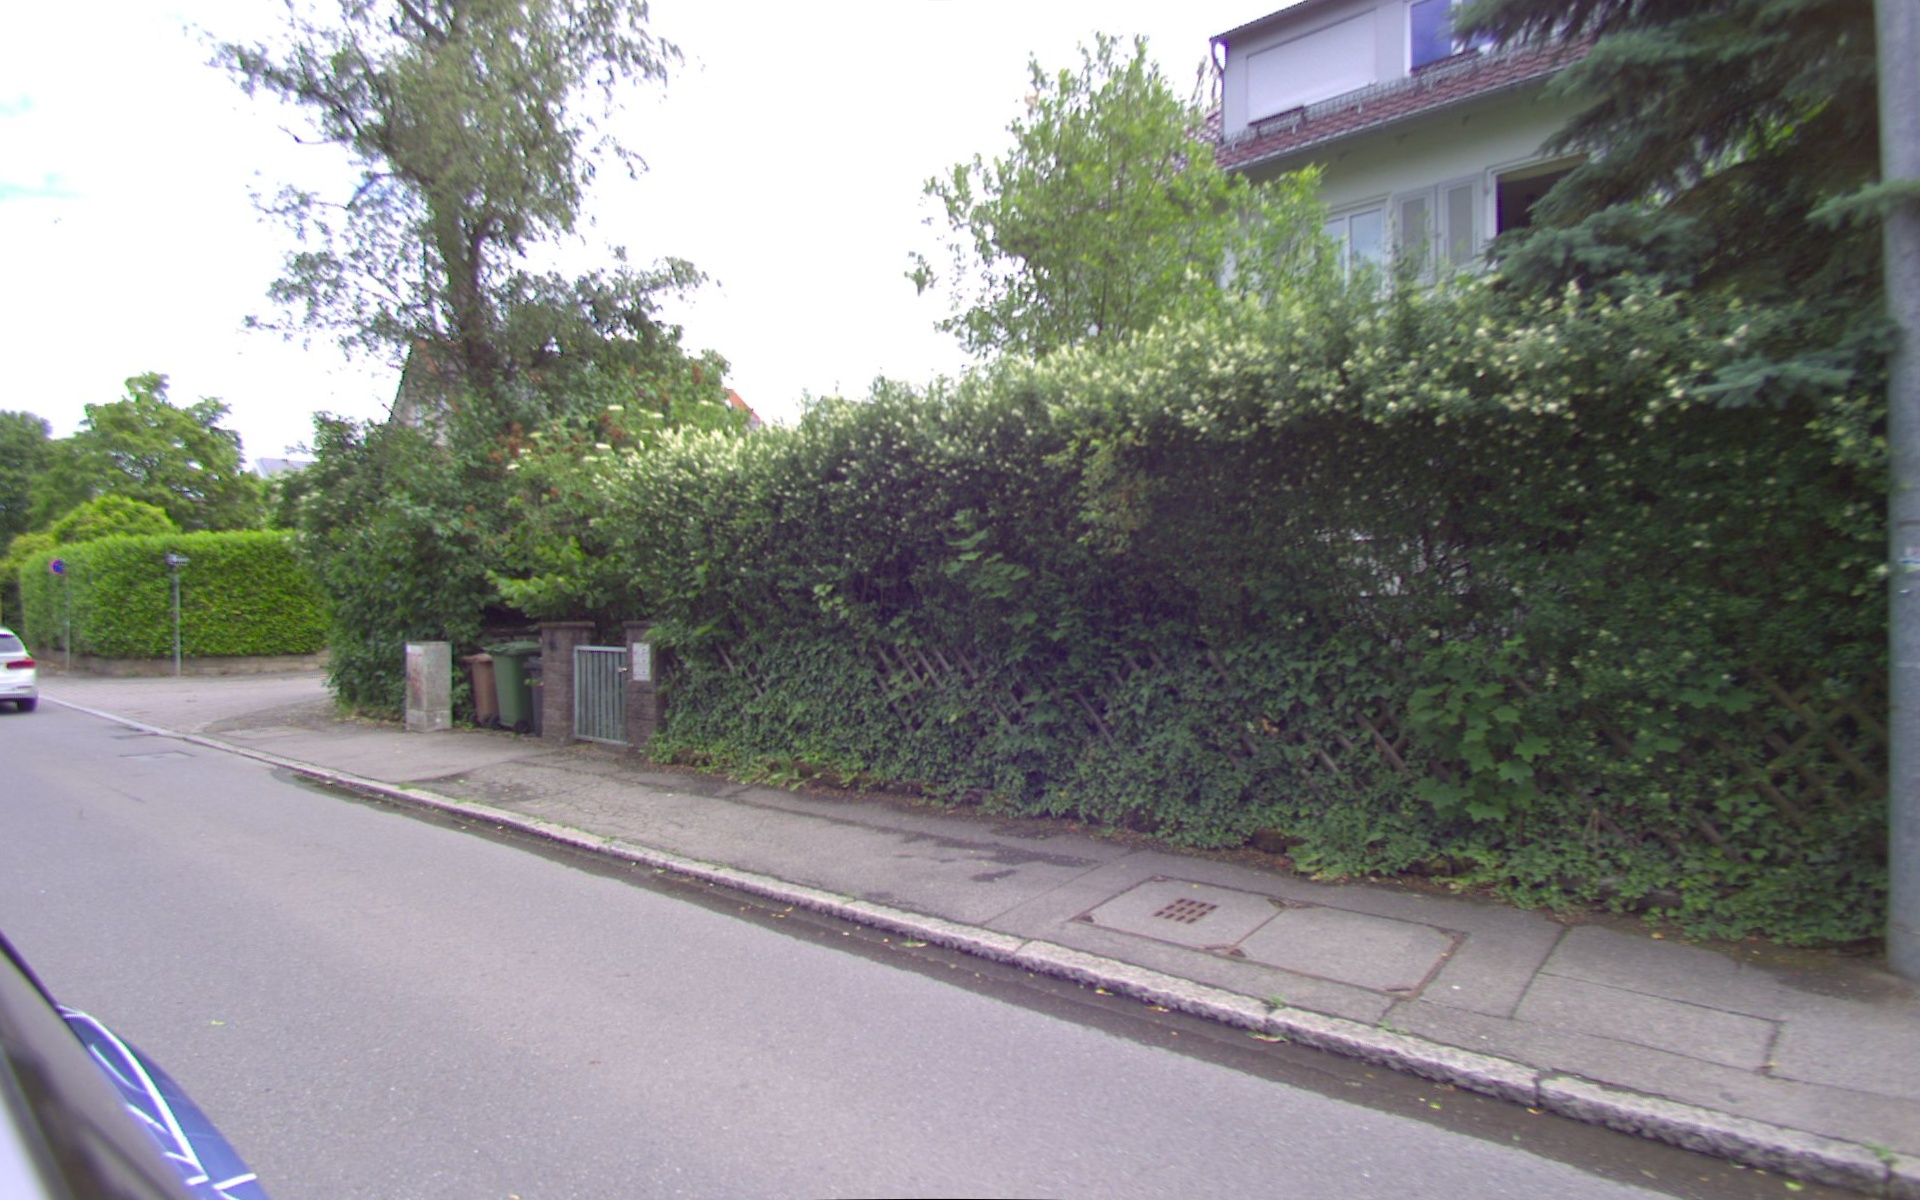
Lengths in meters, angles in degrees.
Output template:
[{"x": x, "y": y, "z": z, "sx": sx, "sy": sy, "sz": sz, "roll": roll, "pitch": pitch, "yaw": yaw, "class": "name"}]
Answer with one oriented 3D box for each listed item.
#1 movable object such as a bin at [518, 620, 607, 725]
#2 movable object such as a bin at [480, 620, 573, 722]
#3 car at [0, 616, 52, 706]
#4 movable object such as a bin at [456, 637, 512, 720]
[{"x": -4.647, "y": 0.827, "z": 11.856, "sx": 0.584, "sy": 1.125, "sz": 0.721, "roll": -1, "pitch": 3, "yaw": 36, "class": "movable object such as a bin"}, {"x": -5.259, "y": 0.838, "z": 12.286, "sx": 0.721, "sy": 1.134, "sz": 0.721, "roll": -1, "pitch": 3, "yaw": 36, "class": "movable object such as a bin"}, {"x": -17.286, "y": 0.979, "z": 17.369, "sx": 4.295, "sy": 1.442, "sz": 1.788, "roll": -1, "pitch": -3, "yaw": 38, "class": "car"}, {"x": -5.886, "y": 0.961, "z": 12.512, "sx": 0.511, "sy": 0.958, "sz": 0.375, "roll": -1, "pitch": 3, "yaw": 37, "class": "movable object such as a bin"}]
